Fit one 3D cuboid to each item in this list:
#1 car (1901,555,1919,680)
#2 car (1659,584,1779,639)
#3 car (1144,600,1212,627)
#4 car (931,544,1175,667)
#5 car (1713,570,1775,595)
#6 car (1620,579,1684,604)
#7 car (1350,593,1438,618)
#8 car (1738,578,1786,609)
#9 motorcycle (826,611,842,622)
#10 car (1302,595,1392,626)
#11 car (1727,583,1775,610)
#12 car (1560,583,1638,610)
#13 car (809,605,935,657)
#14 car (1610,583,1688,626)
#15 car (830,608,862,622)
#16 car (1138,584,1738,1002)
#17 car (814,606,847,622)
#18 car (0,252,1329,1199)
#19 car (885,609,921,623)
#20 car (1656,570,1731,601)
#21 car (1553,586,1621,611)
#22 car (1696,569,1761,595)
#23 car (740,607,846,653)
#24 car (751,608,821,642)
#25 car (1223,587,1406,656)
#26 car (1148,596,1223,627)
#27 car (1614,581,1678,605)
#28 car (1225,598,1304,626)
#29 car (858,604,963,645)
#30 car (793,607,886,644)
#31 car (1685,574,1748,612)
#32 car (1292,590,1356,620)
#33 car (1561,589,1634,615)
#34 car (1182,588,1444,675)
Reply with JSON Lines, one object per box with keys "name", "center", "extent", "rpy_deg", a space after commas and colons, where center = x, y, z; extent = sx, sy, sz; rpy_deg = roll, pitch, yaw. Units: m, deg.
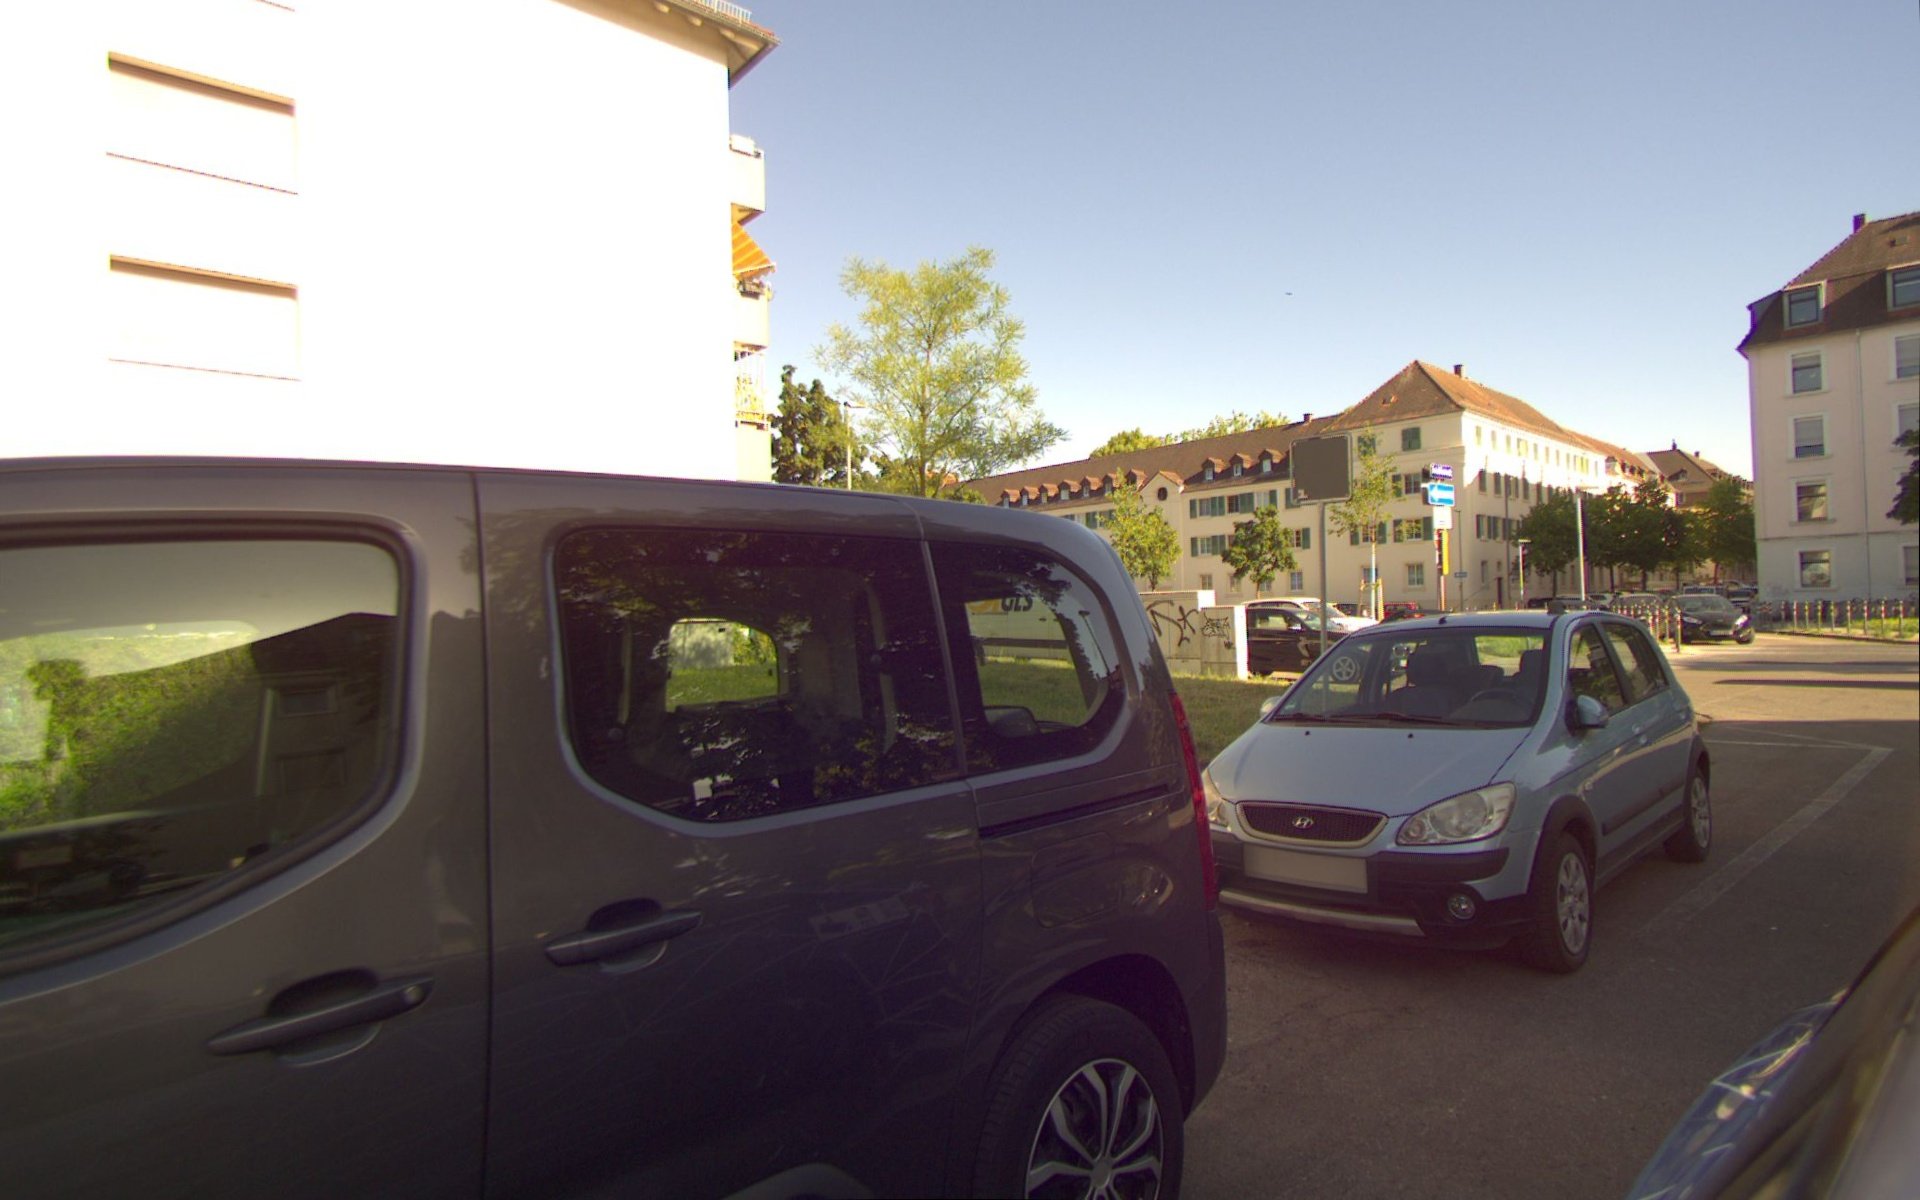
{"name": "car", "center": [15.877, 0.183, 13.863], "extent": [1.871, 1.813, 4.149], "rpy_deg": [-1, -1, -40]}
{"name": "car", "center": [22.148, 0.307, 29.727], "extent": [1.900, 1.427, 4.310], "rpy_deg": [-4, -1, 26]}
{"name": "car", "center": [15.661, 1.004, 72.789], "extent": [2.205, 1.843, 4.248], "rpy_deg": [-1, -1, -42]}
{"name": "car", "center": [2.139, 0.202, 25.928], "extent": [2.110, 2.748, 6.833], "rpy_deg": [1, -2, -38]}
{"name": "car", "center": [83.297, -1.872, 107.553], "extent": [1.924, 2.425, 4.942], "rpy_deg": [-1, -1, -44]}
{"name": "car", "center": [52.968, -0.644, 77.484], "extent": [1.924, 1.858, 3.702], "rpy_deg": [-1, -1, -44]}
{"name": "car", "center": [28.267, 0.384, 66.056], "extent": [1.965, 1.504, 4.950], "rpy_deg": [0, -1, -40]}
{"name": "car", "center": [54.630, -0.474, 68.901], "extent": [1.994, 1.999, 4.973], "rpy_deg": [-2, -1, 45]}
{"name": "motorcycle", "center": [-15.285, 1.974, 122.571], "extent": [0.804, 1.322, 2.141], "rpy_deg": [-1, -1, -41]}
{"name": "car", "center": [23.960, 0.678, 62.776], "extent": [2.128, 1.843, 4.695], "rpy_deg": [-1, -1, -41]}
{"name": "car", "center": [51.158, -0.240, 65.432], "extent": [3.819, 1.589, 1.932], "rpy_deg": [-1, 0, -44]}
{"name": "car", "center": [44.211, -0.206, 70.051], "extent": [1.678, 1.723, 4.233], "rpy_deg": [-1, -1, -42]}
{"name": "car", "center": [-2.861, 0.972, 32.094], "extent": [1.823, 1.484, 4.193], "rpy_deg": [-2, 0, -41]}
{"name": "car", "center": [27.653, 0.188, 40.753], "extent": [1.909, 1.597, 4.309], "rpy_deg": [-2, -1, 26]}
{"name": "car", "center": [-11.881, 1.556, 105.093], "extent": [1.627, 1.350, 3.508], "rpy_deg": [-1, -1, -41]}
{"name": "car", "center": [2.806, 0.674, 5.490], "extent": [3.835, 1.447, 1.654], "rpy_deg": [-1, -1, -44]}
{"name": "car", "center": [-16.728, 1.827, 130.817], "extent": [3.747, 1.980, 2.041], "rpy_deg": [-1, -1, -38]}
{"name": "car", "center": [-1.268, 0.543, 1.943], "extent": [4.220, 1.752, 1.866], "rpy_deg": [-1, -1, -41]}
{"name": "car", "center": [-6.068, 1.678, 106.938], "extent": [1.743, 1.373, 3.993], "rpy_deg": [-1, -1, -40]}
{"name": "car", "center": [63.990, -1.271, 88.347], "extent": [1.924, 2.551, 4.942], "rpy_deg": [-1, -1, -44]}
{"name": "car", "center": [42.505, -0.101, 68.659], "extent": [1.680, 1.540, 3.606], "rpy_deg": [-1, -1, -44]}
{"name": "car", "center": [77.781, -1.845, 102.456], "extent": [1.924, 2.425, 4.942], "rpy_deg": [-1, -1, -44]}
{"name": "car", "center": [-5.924, 1.029, 35.633], "extent": [1.850, 1.494, 4.134], "rpy_deg": [-1, -1, -39]}
{"name": "car", "center": [-8.214, 1.173, 47.492], "extent": [1.564, 1.512, 3.678], "rpy_deg": [1, -2, -41]}
{"name": "car", "center": [9.228, 0.563, 26.616], "extent": [1.730, 1.668, 4.282], "rpy_deg": [1, -2, -39]}
{"name": "car", "center": [17.618, 0.908, 79.223], "extent": [2.495, 2.244, 5.247], "rpy_deg": [-1, -1, -42]}
{"name": "car", "center": [51.345, -0.492, 75.768], "extent": [1.802, 1.661, 3.606], "rpy_deg": [-1, -1, -44]}
{"name": "car", "center": [22.104, 0.880, 73.586], "extent": [2.123, 1.910, 5.150], "rpy_deg": [-1, -1, -40]}
{"name": "car", "center": [-2.017, 0.994, 40.162], "extent": [1.846, 1.539, 4.462], "rpy_deg": [2, -2, -41]}
{"name": "car", "center": [-5.325, 1.121, 44.123], "extent": [1.730, 1.511, 4.659], "rpy_deg": [1, -2, -41]}
{"name": "car", "center": [43.540, -0.418, 58.178], "extent": [4.501, 2.039, 2.135], "rpy_deg": [-1, -1, -44]}
{"name": "car", "center": [25.117, 0.348, 69.904], "extent": [1.641, 2.039, 3.891], "rpy_deg": [-1, 0, -40]}
{"name": "car", "center": [41.360, 0.132, 65.665], "extent": [1.683, 1.540, 3.661], "rpy_deg": [-1, -1, -41]}
{"name": "car", "center": [6.782, 0.605, 19.826], "extent": [1.930, 1.501, 4.491], "rpy_deg": [1, -2, -40]}
